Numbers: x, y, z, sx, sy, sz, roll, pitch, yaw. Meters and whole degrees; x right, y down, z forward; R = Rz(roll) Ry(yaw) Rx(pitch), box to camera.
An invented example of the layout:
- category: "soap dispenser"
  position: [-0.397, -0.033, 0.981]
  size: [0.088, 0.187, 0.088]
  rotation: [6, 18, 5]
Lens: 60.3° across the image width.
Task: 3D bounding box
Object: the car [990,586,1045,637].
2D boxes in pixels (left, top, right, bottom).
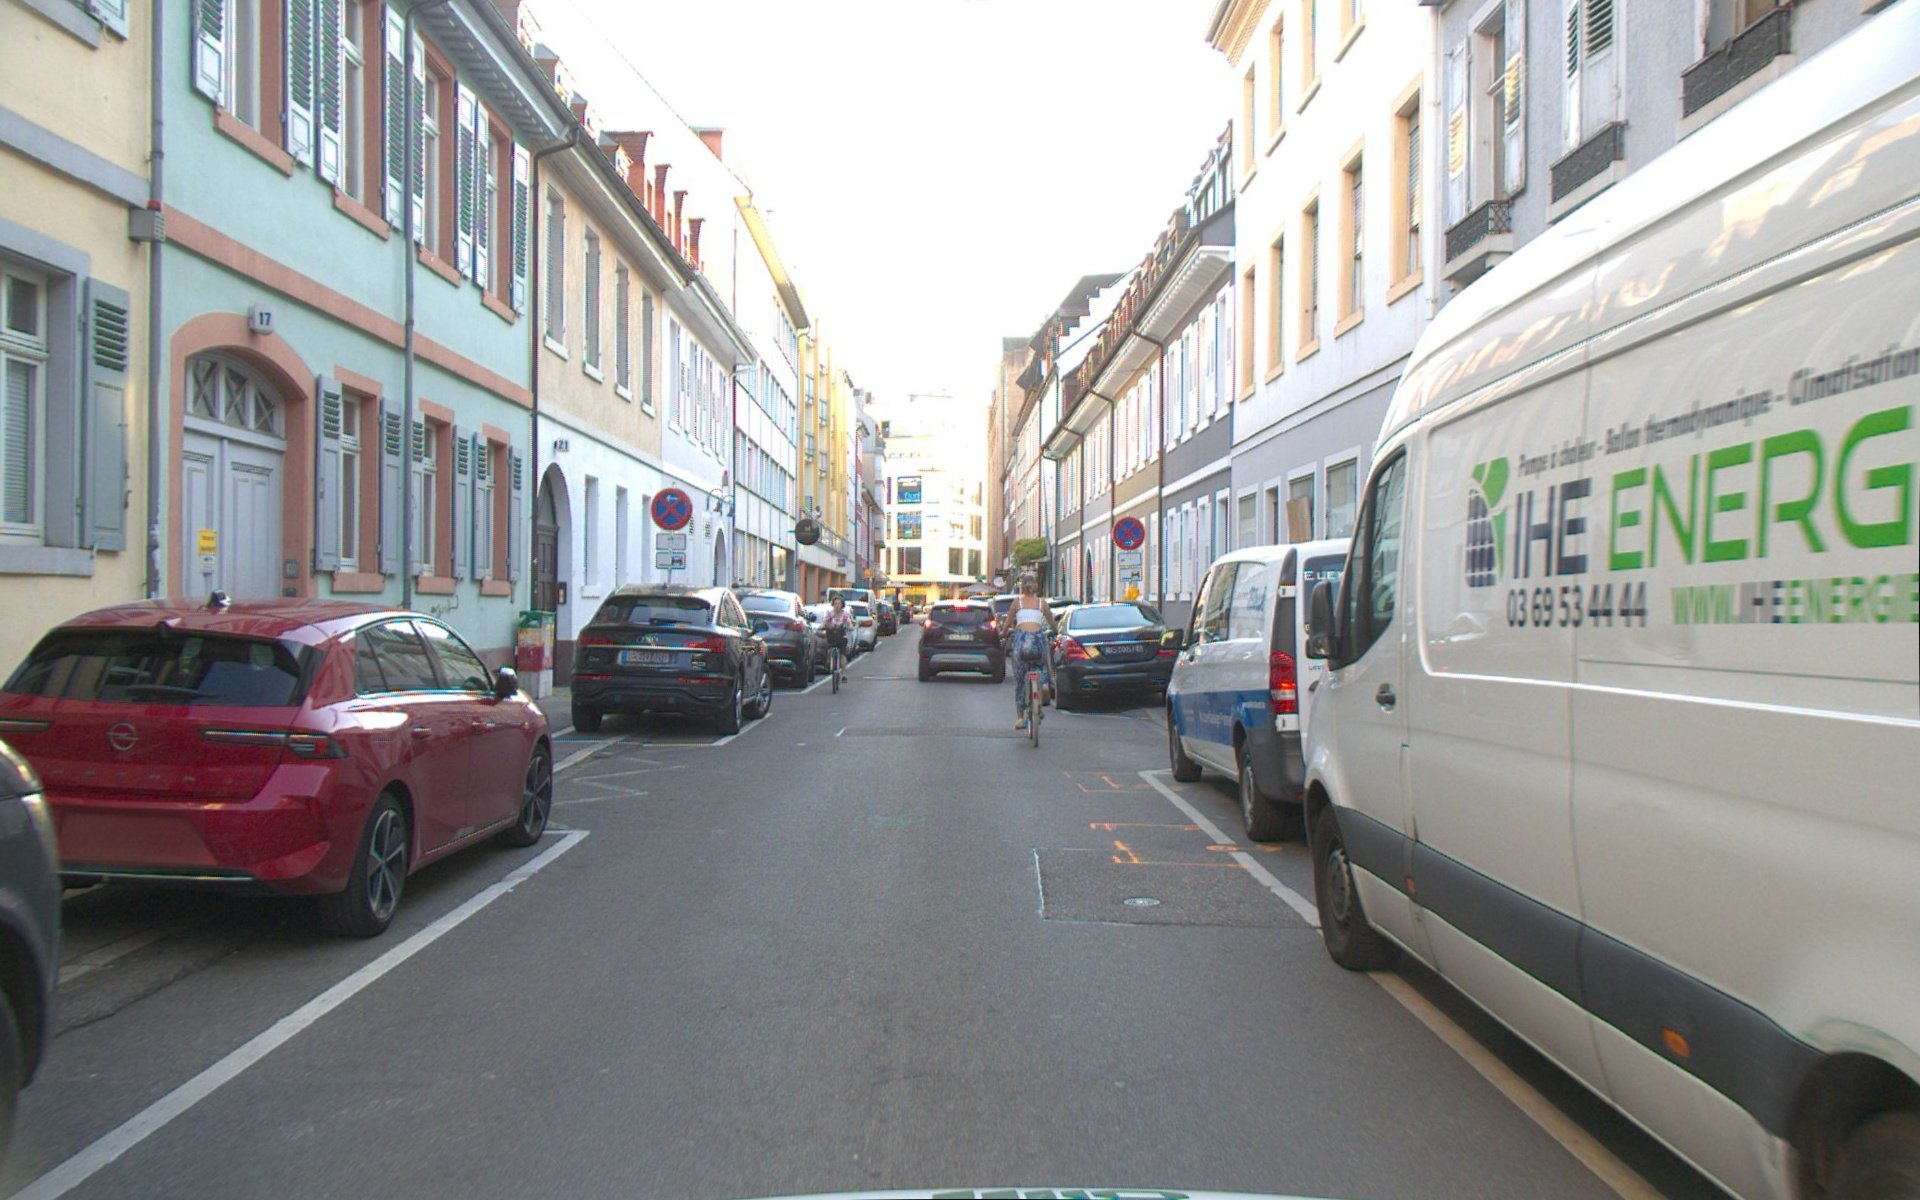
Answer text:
- category: "car"
  position: [1.869, 0.364, 54.466]
  size: [1.620, 1.588, 3.605]
  rotation: [1, 0, -1]

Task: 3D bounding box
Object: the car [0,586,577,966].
- category: "car"
  position: [-3.304, 0.671, 8.386]
  size: [1.729, 1.426, 4.262]
  rotation: [1, 0, 0]

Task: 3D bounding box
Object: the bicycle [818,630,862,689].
- category: "bicycle"
  position: [-2.057, 1.009, 28.494]
  size: [0.601, 0.949, 1.886]
  rotation: [1, 0, 1]

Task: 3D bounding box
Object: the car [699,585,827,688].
- category: "car"
  position: [-3.586, 0.628, 30.882]
  size: [1.958, 1.737, 4.533]
  rotation: [1, 0, -2]

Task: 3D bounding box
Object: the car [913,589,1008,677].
- category: "car"
  position: [-0.030, 0.638, 33.755]
  size: [1.782, 1.646, 3.999]
  rotation: [1, 0, -1]

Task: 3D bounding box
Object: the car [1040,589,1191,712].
- category: "car"
  position: [2.239, 0.694, 25.016]
  size: [1.782, 1.556, 5.071]
  rotation: [-3, 0, 1]

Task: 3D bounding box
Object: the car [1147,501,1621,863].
- category: "car"
  position: [2.694, 0.473, 11.993]
  size: [1.902, 1.927, 5.316]
  rotation: [-3, 0, -1]

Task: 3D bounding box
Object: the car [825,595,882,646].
- category: "car"
  position: [-3.433, 0.646, 53.838]
  size: [1.620, 1.588, 3.605]
  rotation: [1, 0, -1]

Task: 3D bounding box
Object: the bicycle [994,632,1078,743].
- category: "bicycle"
  position: [0.790, 0.908, 17.754]
  size: [0.602, 1.101, 1.806]
  rotation: [1, 0, -7]

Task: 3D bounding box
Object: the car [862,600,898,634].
- category: "car"
  position: [-3.937, 0.807, 81.661]
  size: [1.620, 1.588, 3.605]
  rotation: [1, 0, -1]

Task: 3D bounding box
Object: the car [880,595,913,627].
- category: "car"
  position: [-3.336, 0.577, 87.366]
  size: [1.620, 1.588, 3.605]
  rotation: [1, 0, -1]

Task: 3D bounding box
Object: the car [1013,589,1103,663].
- category: "car"
  position: [2.441, 0.633, 42.132]
  size: [1.879, 1.768, 4.151]
  rotation: [1, 0, -2]

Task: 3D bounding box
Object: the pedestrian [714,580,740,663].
- category: "pedestrian"
  position: [-5.826, 0.542, 41.390]
  size: [0.598, 2.049, 0.449]
  rotation: [1, -1, -4]

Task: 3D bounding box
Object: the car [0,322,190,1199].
- category: "car"
  position: [-2.951, 0.422, 2.118]
  size: [1.825, 2.049, 4.812]
  rotation: [0, 0, -2]

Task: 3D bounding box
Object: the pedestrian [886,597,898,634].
- category: "pedestrian"
  position: [-3.310, 0.730, 80.135]
  size: [0.543, 1.783, 0.568]
  rotation: [1, 0, -4]

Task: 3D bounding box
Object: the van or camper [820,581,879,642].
- category: "van or camper"
  position: [-3.919, 0.395, 59.494]
  size: [1.807, 2.048, 4.677]
  rotation: [1, 0, -1]

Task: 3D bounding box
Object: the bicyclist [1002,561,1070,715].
- category: "bicyclist"
  position: [0.807, 0.400, 17.676]
  size: [0.609, 1.602, 0.682]
  rotation: [1, 0, -7]

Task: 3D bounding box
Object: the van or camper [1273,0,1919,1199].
- category: "van or camper"
  position: [2.491, 0.011, 4.391]
  size: [2.008, 2.684, 7.062]
  rotation: [0, 0, 0]

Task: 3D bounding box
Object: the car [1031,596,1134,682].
- category: "car"
  position: [2.307, 0.715, 32.030]
  size: [1.642, 1.512, 3.999]
  rotation: [1, 0, -1]

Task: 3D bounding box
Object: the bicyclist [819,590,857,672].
- category: "bicyclist"
  position: [-2.103, 0.525, 28.537]
  size: [0.593, 1.393, 0.621]
  rotation: [1, 0, 1]

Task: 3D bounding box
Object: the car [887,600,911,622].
- category: "car"
  position: [-4.487, 0.801, 121.720]
  size: [1.620, 1.588, 3.605]
  rotation: [1, 0, -1]

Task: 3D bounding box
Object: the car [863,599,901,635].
- category: "car"
  position: [-3.580, 0.773, 76.362]
  size: [1.620, 1.588, 3.605]
  rotation: [1, 0, -1]

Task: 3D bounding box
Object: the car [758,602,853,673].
- category: "car"
  position: [-3.415, 0.791, 37.223]
  size: [1.879, 1.459, 4.291]
  rotation: [1, 0, -2]

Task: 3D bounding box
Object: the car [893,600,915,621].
- category: "car"
  position: [-4.322, 0.826, 128.493]
  size: [1.620, 1.588, 3.605]
  rotation: [1, 0, -1]

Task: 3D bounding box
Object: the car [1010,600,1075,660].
- category: "car"
  position: [2.303, 0.821, 46.881]
  size: [1.620, 1.588, 3.605]
  rotation: [1, 0, -1]

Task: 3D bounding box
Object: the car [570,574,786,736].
- category: "car"
  position: [-3.223, 0.585, 19.749]
  size: [1.765, 1.706, 4.490]
  rotation: [0, 0, 1]

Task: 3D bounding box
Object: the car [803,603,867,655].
- category: "car"
  position: [-3.664, 0.832, 48.854]
  size: [1.620, 1.435, 3.605]
  rotation: [1, 0, -1]

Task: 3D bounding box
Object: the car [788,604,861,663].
- category: "car"
  position: [-3.548, 0.848, 43.765]
  size: [1.620, 1.435, 3.902]
  rotation: [1, 0, -1]
